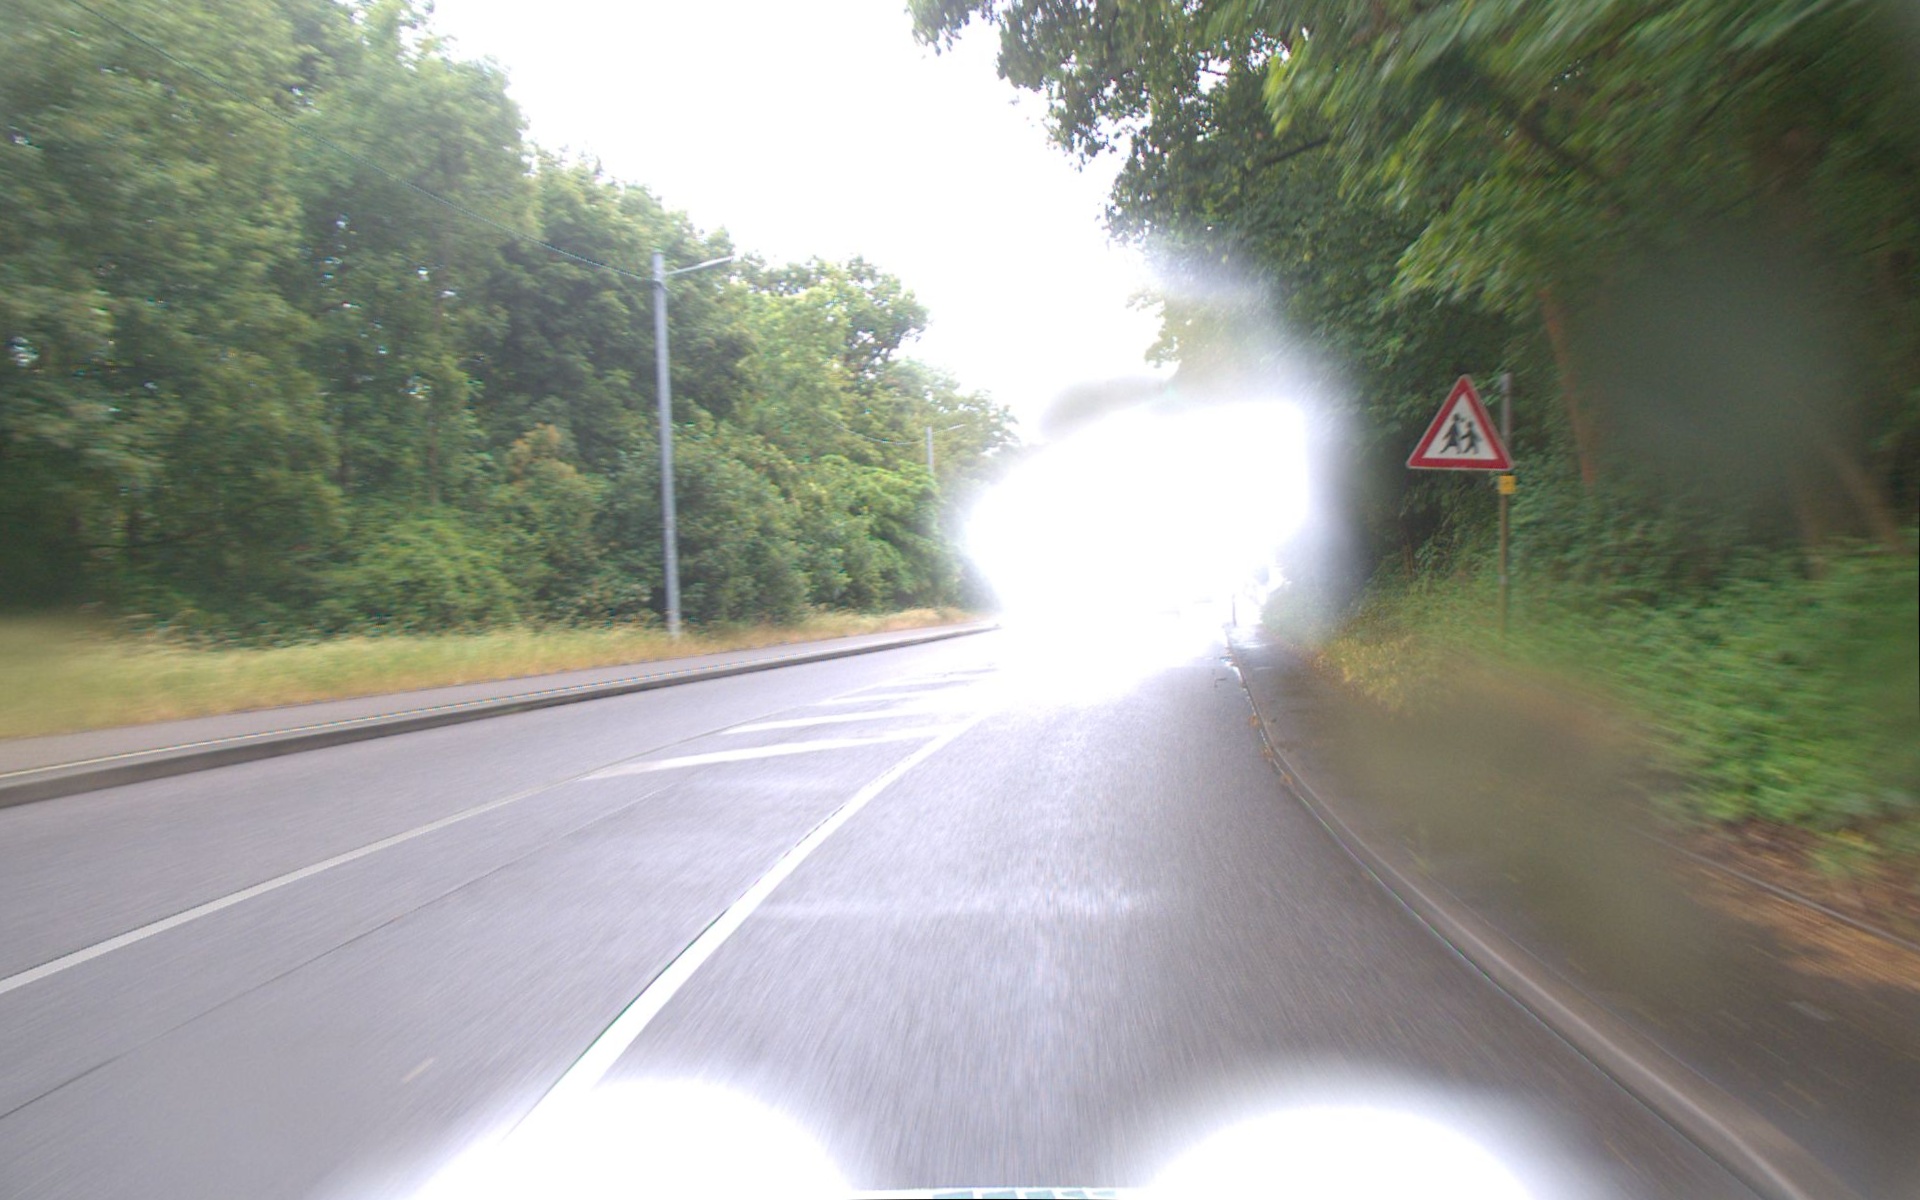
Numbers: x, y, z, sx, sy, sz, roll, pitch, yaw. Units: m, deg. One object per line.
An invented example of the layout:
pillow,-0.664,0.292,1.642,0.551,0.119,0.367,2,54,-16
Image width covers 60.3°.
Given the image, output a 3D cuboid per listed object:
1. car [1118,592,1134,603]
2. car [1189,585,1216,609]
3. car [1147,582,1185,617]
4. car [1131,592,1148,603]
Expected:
car,24.391,-0.310,243.031,1.706,1.579,3.852,-2,0,-5
car,18.418,-0.206,125.476,1.951,1.803,4.118,0,0,9
car,9.889,-0.029,79.285,1.632,1.621,3.686,0,0,9
car,25.485,-0.372,235.181,1.706,1.579,3.852,0,0,-5
